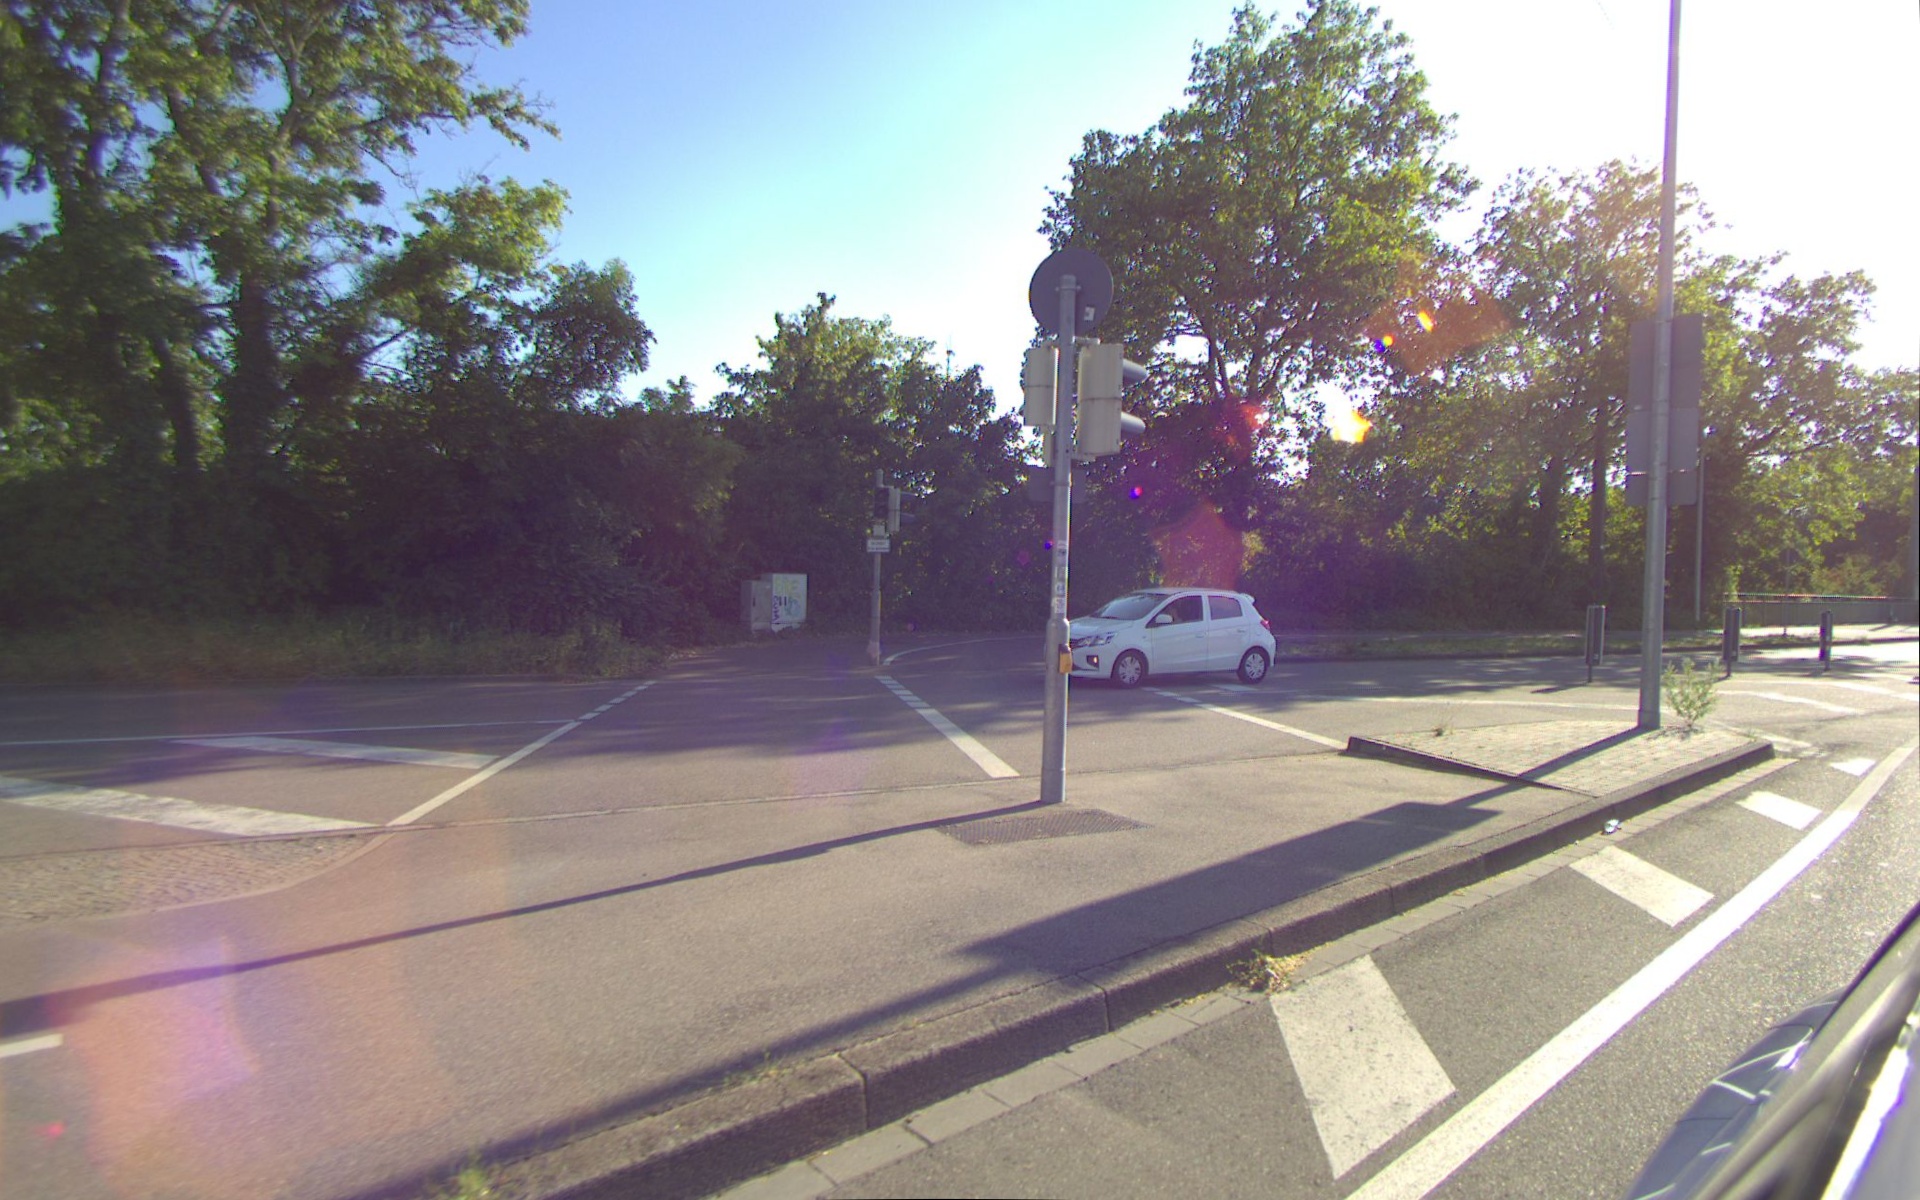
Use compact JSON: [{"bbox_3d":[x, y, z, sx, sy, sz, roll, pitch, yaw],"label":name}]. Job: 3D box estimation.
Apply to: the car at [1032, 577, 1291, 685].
[{"bbox_3d":[3.152,0.428,15.825,3.667,1.492,1.675,0,1,-25],"label":"car"}]
